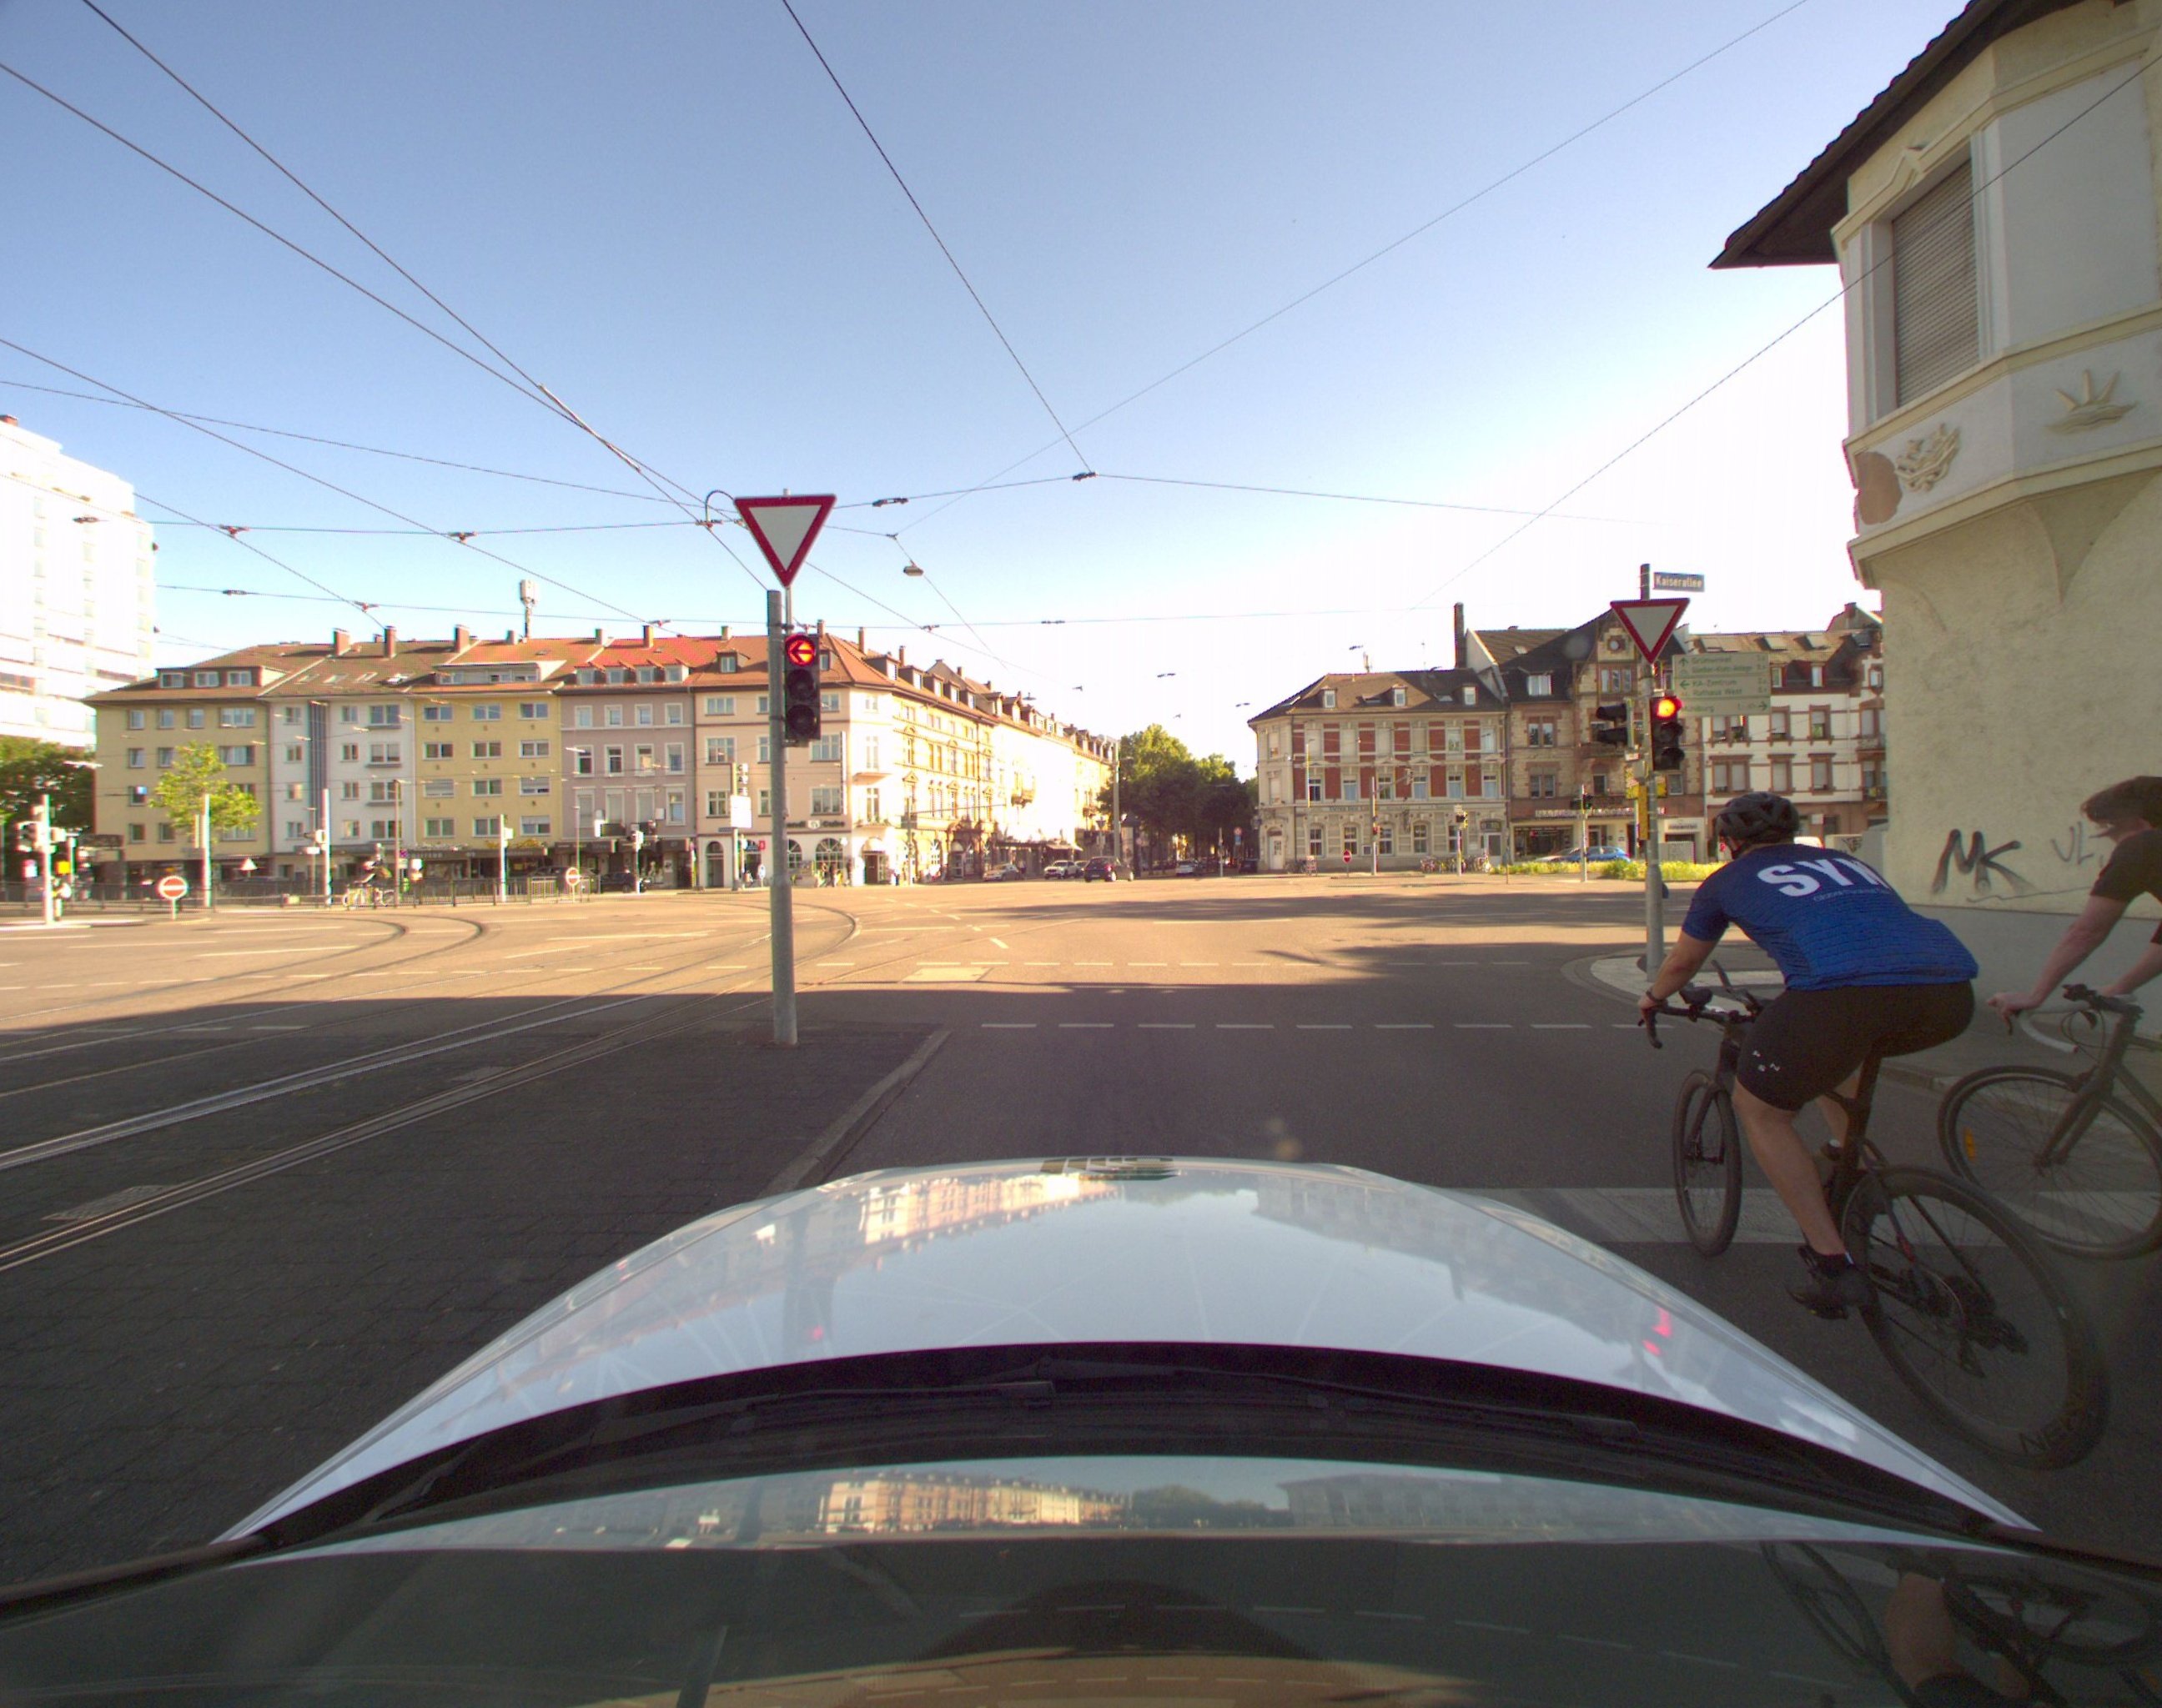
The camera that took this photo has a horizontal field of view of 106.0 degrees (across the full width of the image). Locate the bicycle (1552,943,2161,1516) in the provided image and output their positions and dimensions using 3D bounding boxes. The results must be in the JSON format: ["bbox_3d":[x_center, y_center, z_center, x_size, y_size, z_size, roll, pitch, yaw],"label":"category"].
[{"bbox_3d":[2.287,0.921,2.657,0.623,1.085,1.705,0,-1,5],"label":"bicycle"}]

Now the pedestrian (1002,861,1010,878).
[{"bbox_3d":[-6.933,1.432,75.134,0.539,1.631,0.709,-1,-1,15],"label":"pedestrian"}]

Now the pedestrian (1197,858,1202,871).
[{"bbox_3d":[16.123,1.421,111.148,0.635,1.796,0.492,-1,-1,14],"label":"pedestrian"}]

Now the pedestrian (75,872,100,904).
[{"bbox_3d":[-51.349,1.763,42.097,0.523,1.628,0.577,0,-1,0],"label":"pedestrian"}]

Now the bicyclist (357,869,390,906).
[{"bbox_3d":[-26.546,1.252,30.561,0.553,1.366,0.808,-1,-1,33],"label":"bicyclist"}]

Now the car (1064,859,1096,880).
[{"bbox_3d":[-0.054,1.373,73.813,1.979,1.904,4.015,-1,-1,14],"label":"car"}]

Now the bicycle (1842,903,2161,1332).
[{"bbox_3d":[3.636,0.825,2.636,0.752,1.236,1.702,0,-1,0],"label":"bicycle"}]

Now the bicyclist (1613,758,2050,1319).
[{"bbox_3d":[2.292,0.485,2.627,0.635,1.494,0.885,0,1,6],"label":"bicyclist"}]

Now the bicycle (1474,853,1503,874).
[{"bbox_3d":[26.192,0.609,52.351,0.626,1.287,2.663,0,-1,3],"label":"bicycle"}]

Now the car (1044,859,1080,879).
[{"bbox_3d":[-1.569,1.233,67.405,1.979,1.618,4.015,-1,-1,14],"label":"car"}]

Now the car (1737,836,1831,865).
[{"bbox_3d":[45.306,-0.223,52.565,4.349,1.778,2.000,0,-1,1],"label":"car"}]

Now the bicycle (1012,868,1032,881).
[{"bbox_3d":[-4.737,1.638,65.554,0.756,1.008,2.406,-1,-1,16],"label":"bicycle"}]

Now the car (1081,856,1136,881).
[{"bbox_3d":[1.658,0.822,47.731,1.737,1.362,3.879,-1,-1,28],"label":"car"}]

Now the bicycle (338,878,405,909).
[{"bbox_3d":[-26.552,1.458,30.501,0.567,1.070,1.806,-1,-1,32],"label":"bicycle"}]

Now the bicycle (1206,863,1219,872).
[{"bbox_3d":[15.989,1.657,98.860,0.630,1.085,1.687,0,-1,-28],"label":"bicycle"}]

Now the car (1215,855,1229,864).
[{"bbox_3d":[23.270,0.928,134.309,1.546,1.513,3.673,-1,-1,19],"label":"car"}]

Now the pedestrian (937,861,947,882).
[{"bbox_3d":[-10.875,1.388,63.741,0.539,1.631,0.709,-1,-1,15],"label":"pedestrian"}]

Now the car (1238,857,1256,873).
[{"bbox_3d":[16.813,1.143,82.359,1.680,1.565,3.855,-1,-1,14],"label":"car"}]

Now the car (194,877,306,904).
[{"bbox_3d":[-46.057,2.020,45.211,3.979,1.376,1.997,0,-1,-4],"label":"car"}]

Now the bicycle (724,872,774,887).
[{"bbox_3d":[-23.430,1.790,57.462,3.118,0.980,1.002,0,-1,1],"label":"bicycle"}]

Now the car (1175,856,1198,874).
[{"bbox_3d":[9.046,0.942,69.513,1.761,1.530,4.010,-1,-1,9],"label":"car"}]

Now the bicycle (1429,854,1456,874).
[{"bbox_3d":[23.256,0.636,52.418,0.689,1.287,2.663,0,-1,3],"label":"bicycle"}]

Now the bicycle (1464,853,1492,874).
[{"bbox_3d":[25.497,0.606,52.380,0.626,1.287,2.663,0,-1,3],"label":"bicycle"}]

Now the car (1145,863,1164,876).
[{"bbox_3d":[11.072,2.331,122.434,1.977,1.904,4.019,-1,-1,19],"label":"car"}]

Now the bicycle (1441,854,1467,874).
[{"bbox_3d":[23.979,0.629,52.412,0.626,1.287,2.663,0,-1,3],"label":"bicycle"}]

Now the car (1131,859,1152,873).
[{"bbox_3d":[8.393,1.628,112.689,1.977,1.904,4.019,-1,-1,19],"label":"car"}]

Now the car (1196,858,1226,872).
[{"bbox_3d":[18.334,1.572,114.721,3.955,1.904,2.009,-1,-1,17],"label":"car"}]

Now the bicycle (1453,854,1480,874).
[{"bbox_3d":[24.769,0.625,52.384,0.626,1.287,2.663,0,-1,3],"label":"bicycle"}]

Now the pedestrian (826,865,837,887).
[{"bbox_3d":[-16.537,1.453,53.982,0.631,1.477,0.465,0,-1,-2],"label":"pedestrian"}]

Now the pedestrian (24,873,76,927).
[{"bbox_3d":[-31.545,1.392,24.926,0.697,1.634,0.681,0,-1,-3],"label":"pedestrian"}]

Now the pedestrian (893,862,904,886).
[{"bbox_3d":[-12.642,1.366,56.362,0.631,1.634,0.700,0,-1,-2],"label":"pedestrian"}]

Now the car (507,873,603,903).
[{"bbox_3d":[-29.584,1.903,45.875,4.149,1.618,1.954,0,-1,2],"label":"car"}]

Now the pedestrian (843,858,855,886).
[{"bbox_3d":[-15.677,1.232,55.068,0.631,1.881,0.465,0,-1,-2],"label":"pedestrian"}]

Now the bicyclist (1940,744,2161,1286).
[{"bbox_3d":[3.599,0.476,2.580,0.803,1.606,0.883,0,-1,0],"label":"bicyclist"}]

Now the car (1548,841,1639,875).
[{"bbox_3d":[28.337,0.231,45.136,3.769,1.778,2.000,0,-1,1],"label":"car"}]

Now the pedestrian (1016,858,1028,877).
[{"bbox_3d":[-4.765,1.108,65.486,0.814,1.512,0.601,-1,-1,16],"label":"pedestrian"}]

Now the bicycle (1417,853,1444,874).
[{"bbox_3d":[22.460,0.607,52.397,0.689,1.287,2.663,0,-1,3],"label":"bicycle"}]

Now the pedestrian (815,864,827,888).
[{"bbox_3d":[-17.431,1.465,54.553,0.631,1.612,0.465,0,-1,-2],"label":"pedestrian"}]

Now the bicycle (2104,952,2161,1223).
[{"bbox_3d":[4.479,0.908,2.439,0.647,1.031,1.772,0,-1,3],"label":"bicycle"}]

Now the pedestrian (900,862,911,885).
[{"bbox_3d":[-12.385,1.373,57.532,0.631,1.634,0.700,0,-1,-2],"label":"pedestrian"}]

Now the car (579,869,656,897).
[{"bbox_3d":[-30.594,1.917,53.814,3.962,1.670,2.006,-2,0,10],"label":"car"}]

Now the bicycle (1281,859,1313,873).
[{"bbox_3d":[15.076,0.829,56.887,2.040,0.998,0.631,-1,-1,4],"label":"bicycle"}]

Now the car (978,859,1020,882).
[{"bbox_3d":[-6.753,1.332,67.429,1.977,1.904,4.019,-1,-1,19],"label":"car"}]
